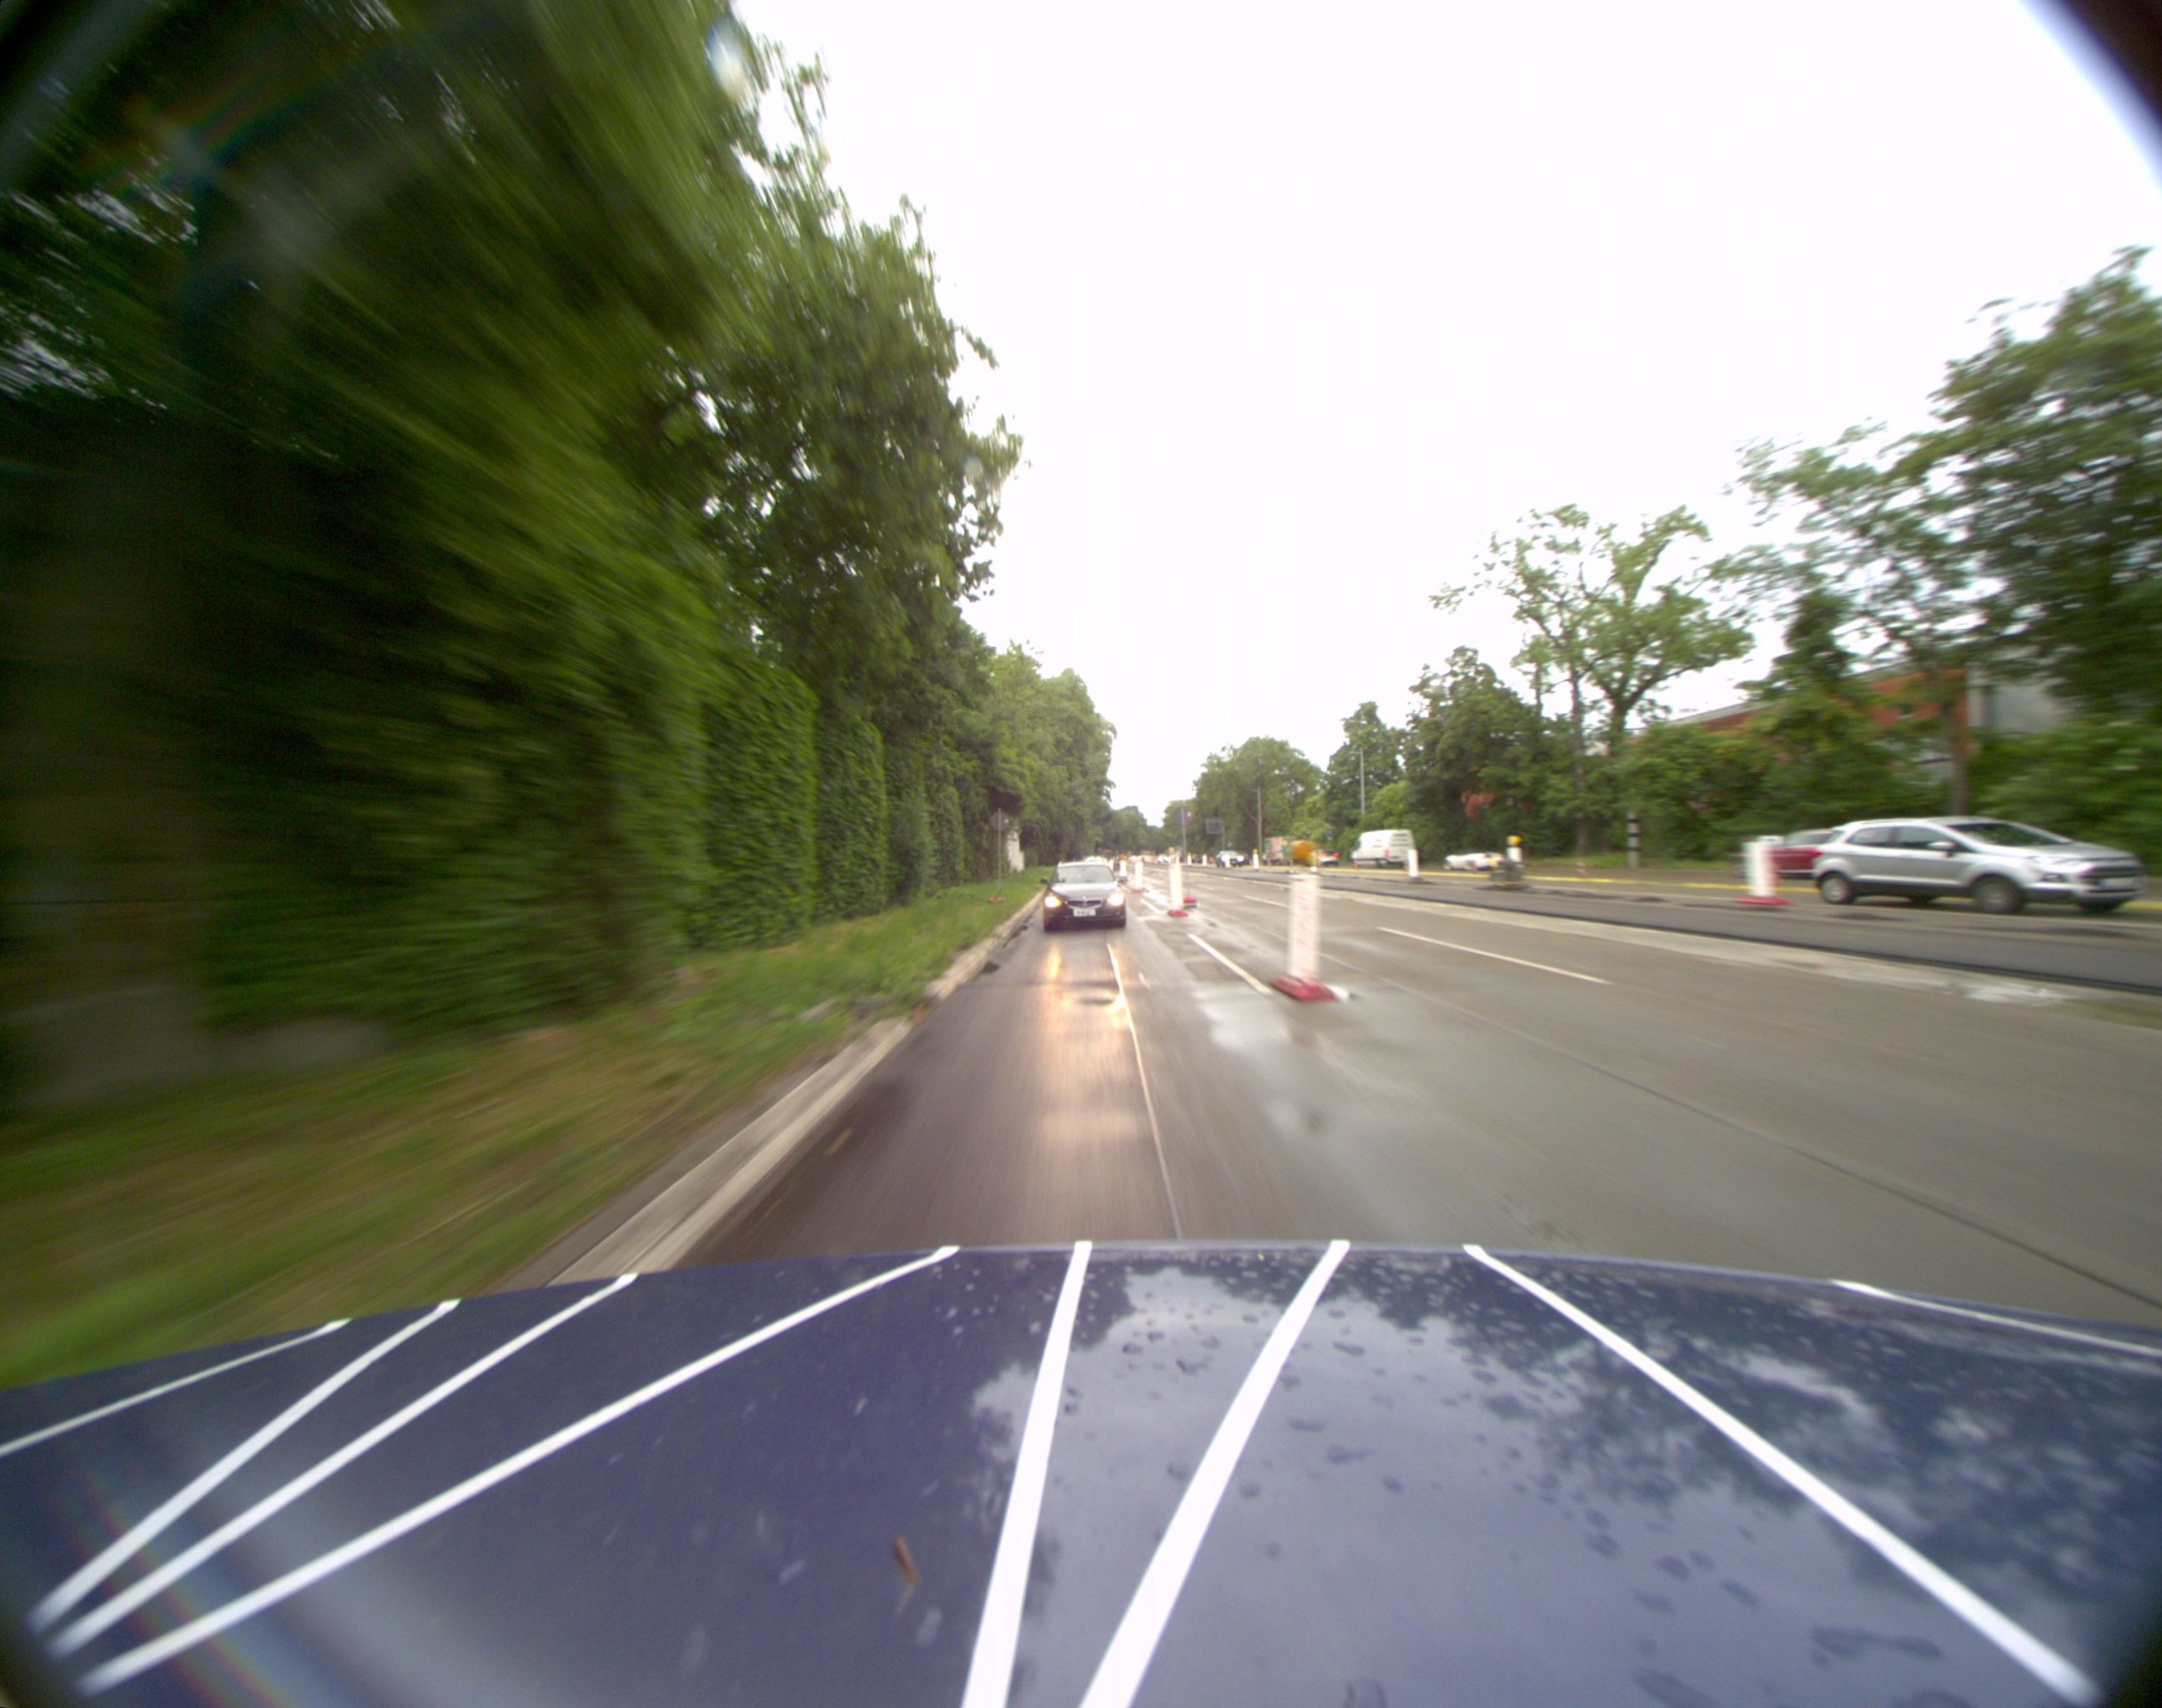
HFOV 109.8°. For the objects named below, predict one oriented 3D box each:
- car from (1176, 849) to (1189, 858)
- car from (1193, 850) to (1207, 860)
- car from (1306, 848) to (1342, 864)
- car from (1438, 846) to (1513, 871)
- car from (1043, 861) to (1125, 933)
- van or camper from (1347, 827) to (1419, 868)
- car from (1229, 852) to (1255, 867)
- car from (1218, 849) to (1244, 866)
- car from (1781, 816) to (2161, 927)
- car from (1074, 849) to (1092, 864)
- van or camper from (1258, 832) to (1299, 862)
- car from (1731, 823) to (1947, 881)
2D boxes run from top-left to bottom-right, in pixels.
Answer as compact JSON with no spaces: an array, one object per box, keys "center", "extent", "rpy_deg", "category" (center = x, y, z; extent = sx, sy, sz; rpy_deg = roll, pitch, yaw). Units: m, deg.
[{"center":[19.936,-0.118,149.933],"extent":[1.893,1.543,4.398],"rpy_deg":[-3,0,0],"category":"car"},{"center":[19.003,0.191,121.658],"extent":[1.691,1.434,4.108],"rpy_deg":[-2,0,2],"category":"car"},{"center":[20.936,0.179,65.635],"extent":[1.720,1.357,4.081],"rpy_deg":[-1,0,0],"category":"car"},{"center":[21.130,0.213,40.862],"extent":[1.693,1.176,3.998],"rpy_deg":[-3,0,-4],"category":"car"},{"center":[0.070,0.901,17.606],"extent":[1.658,1.409,4.129],"rpy_deg":[-1,0,0],"category":"car"},{"center":[21.148,-0.439,53.733],"extent":[1.998,2.540,7.730],"rpy_deg":[-3,0,1],"category":"van or camper"},{"center":[19.042,0.625,89.865],"extent":[1.998,1.683,4.807],"rpy_deg":[-1,0,0],"category":"car"},{"center":[15.389,0.311,78.186],"extent":[1.998,1.619,4.813],"rpy_deg":[-2,0,3],"category":"car"},{"center":[15.353,0.265,13.411],"extent":[1.893,1.555,4.363],"rpy_deg":[-3,0,0],"category":"car"},{"center":[0.259,0.258,91.175],"extent":[1.998,1.707,4.000],"rpy_deg":[-1,0,2],"category":"car"},{"center":[21.362,-0.766,82.551],"extent":[2.303,3.045,7.451],"rpy_deg":[-2,0,0],"category":"van or camper"},{"center":[21.645,-0.059,22.012],"extent":[1.733,1.467,4.487],"rpy_deg":[-2,0,0],"category":"car"}]
